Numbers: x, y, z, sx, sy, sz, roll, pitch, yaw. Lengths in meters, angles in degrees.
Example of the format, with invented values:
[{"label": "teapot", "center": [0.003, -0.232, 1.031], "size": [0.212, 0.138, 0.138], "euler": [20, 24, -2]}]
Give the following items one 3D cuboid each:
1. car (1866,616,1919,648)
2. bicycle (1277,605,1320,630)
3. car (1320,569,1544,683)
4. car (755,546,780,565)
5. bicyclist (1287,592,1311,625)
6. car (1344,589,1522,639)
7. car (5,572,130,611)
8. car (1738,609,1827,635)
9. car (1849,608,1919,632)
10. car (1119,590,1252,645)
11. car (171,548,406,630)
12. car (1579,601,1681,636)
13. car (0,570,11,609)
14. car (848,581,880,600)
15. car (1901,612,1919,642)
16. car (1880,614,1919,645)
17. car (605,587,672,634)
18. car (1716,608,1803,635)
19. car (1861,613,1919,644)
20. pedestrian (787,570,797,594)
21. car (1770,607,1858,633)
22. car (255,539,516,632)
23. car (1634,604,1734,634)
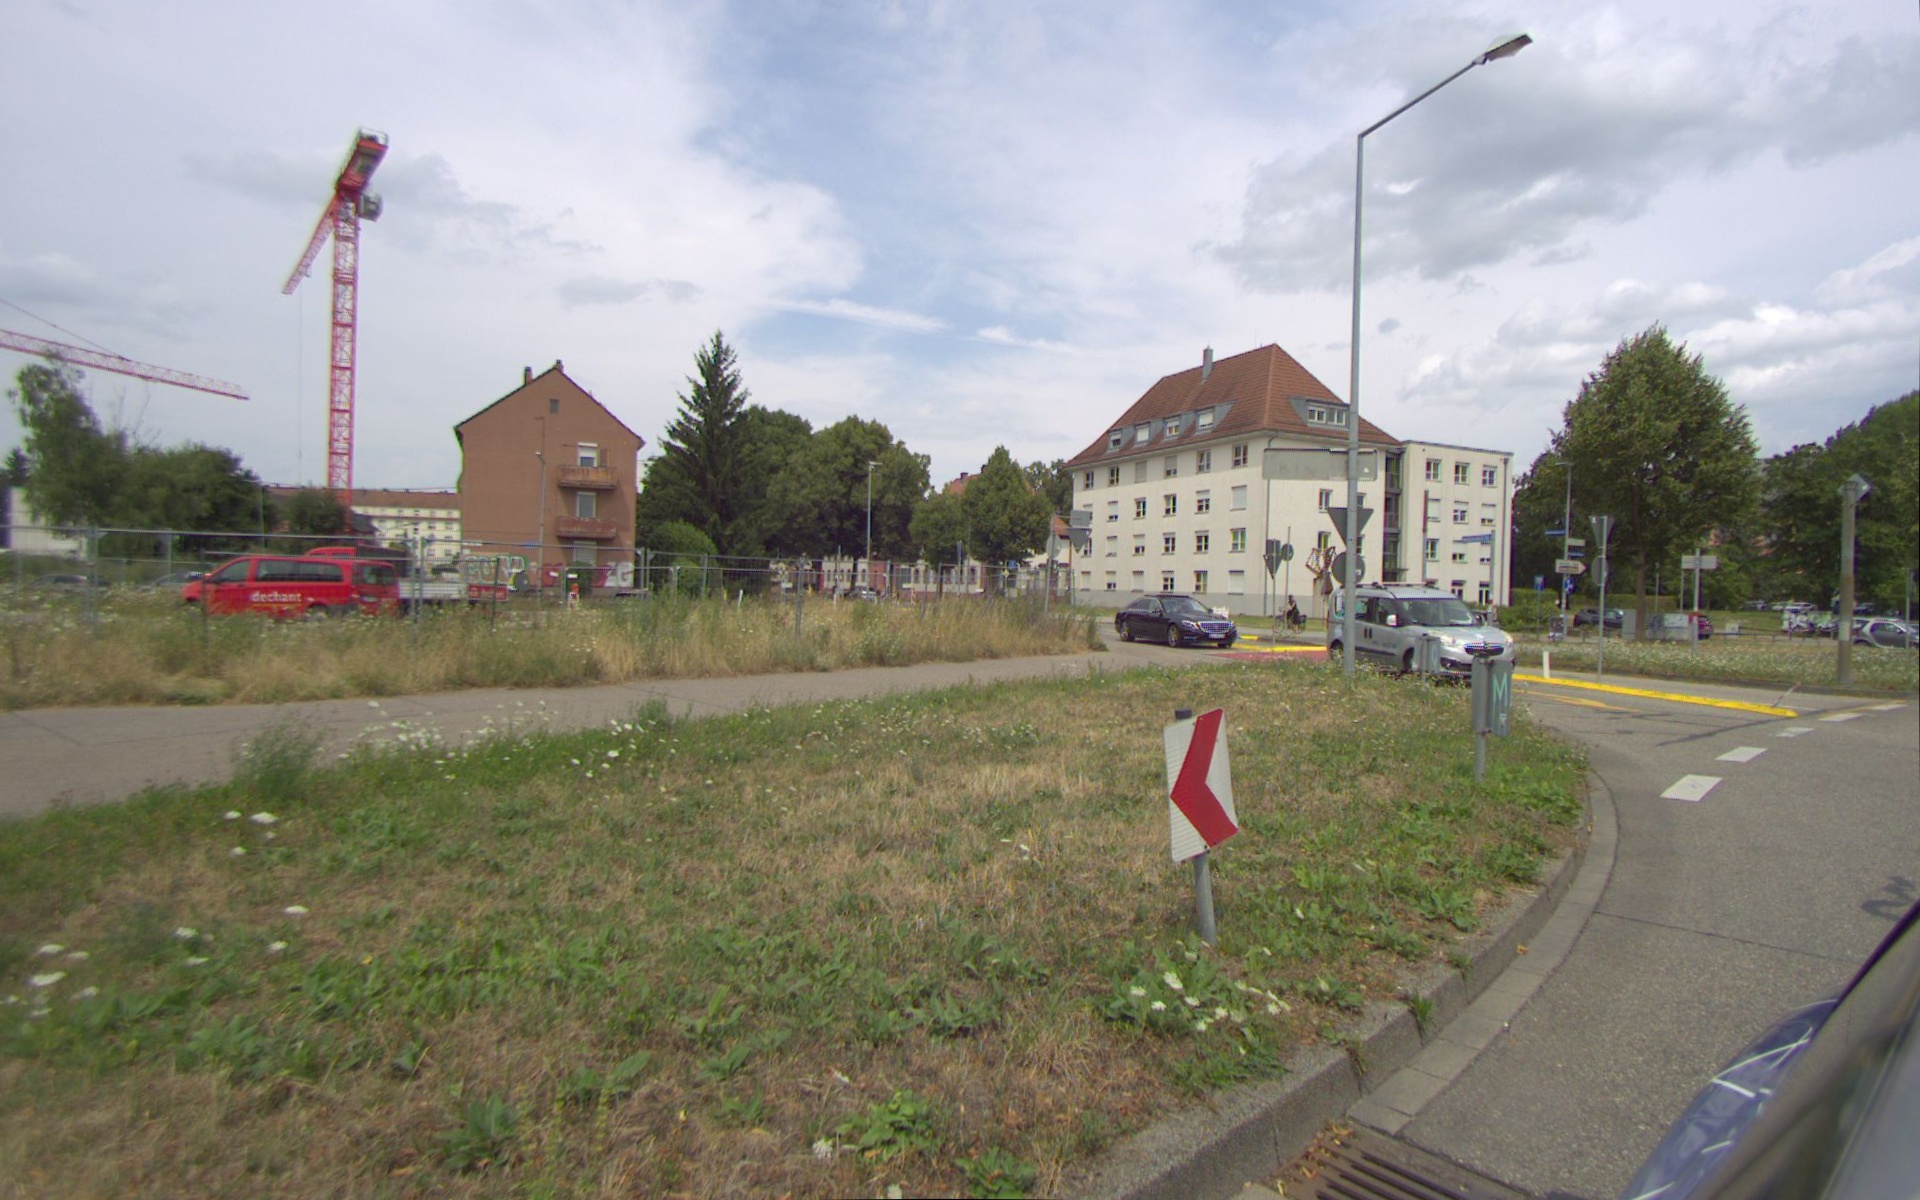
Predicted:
[{"label": "car", "center": [44.585, 1.500, 47.392], "size": [1.454, 1.442, 2.918], "euler": [2, -2, -30]}, {"label": "bicycle", "center": [15.049, 0.768, 45.025], "size": [1.790, 1.059, 0.603], "euler": [1, 0, -17]}, {"label": "car", "center": [9.124, 0.425, 20.074], "size": [1.774, 1.972, 4.591], "euler": [1, 1, -8]}, {"label": "car", "center": [-25.184, -5.775, 132.384], "size": [1.959, 2.301, 5.169], "euler": [1, 1, -26]}, {"label": "bicyclist", "center": [15.079, 0.359, 45.034], "size": [0.786, 1.441, 0.603], "euler": [1, 0, -17]}, {"label": "car", "center": [16.111, 0.444, 34.676], "size": [5.167, 1.501, 1.968], "euler": [2, 1, 44]}, {"label": "car", "center": [-39.998, -0.401, 45.406], "size": [3.935, 1.622, 1.803], "euler": [1, 1, -3]}, {"label": "car", "center": [52.096, 1.366, 64.174], "size": [1.780, 1.486, 4.014], "euler": [1, 1, -25]}, {"label": "car", "center": [65.201, 1.394, 70.902], "size": [1.780, 1.594, 4.014], "euler": [1, 0, -25]}, {"label": "car", "center": [6.690, 0.467, 30.646], "size": [1.780, 1.523, 4.880], "euler": [1, 0, -16]}, {"label": "car", "center": [-17.185, -0.251, 26.011], "size": [4.902, 1.935, 1.932], "euler": [1, -2, 7]}, {"label": "car", "center": [38.229, 1.041, 57.878], "size": [1.959, 1.786, 4.509], "euler": [1, 1, -25]}, {"label": "car", "center": [-44.972, -0.511, 44.860], "size": [3.934, 1.771, 1.859], "euler": [1, 1, -3]}, {"label": "car", "center": [-8.464, -0.859, 88.797], "size": [1.595, 1.538, 4.227], "euler": [1, 0, -23]}, {"label": "car", "center": [51.153, 1.463, 51.189], "size": [1.795, 1.490, 4.899], "euler": [1, 1, -24]}, {"label": "car", "center": [49.063, 1.527, 50.098], "size": [1.795, 1.490, 4.899], "euler": [1, 1, -24]}, {"label": "car", "center": [-11.163, 0.312, 35.384], "size": [1.730, 1.492, 4.267], "euler": [1, 1, -11]}, {"label": "car", "center": [50.104, 1.331, 63.511], "size": [1.582, 1.486, 4.015], "euler": [1, 1, -25]}, {"label": "car", "center": [46.727, 1.382, 48.693], "size": [1.795, 1.490, 4.712], "euler": [1, -1, -27]}, {"label": "pedestrian", "center": [-14.335, -1.543, 86.286], "size": [0.717, 2.039, 0.857], "euler": [1, 0, -4]}, {"label": "car", "center": [55.505, 1.267, 65.865], "size": [1.780, 1.486, 4.015], "euler": [1, 1, -25]}, {"label": "car", "center": [-16.357, -0.432, 28.980], "size": [6.432, 2.442, 2.313], "euler": [1, 1, 8]}, {"label": "car", "center": [43.048, 1.110, 60.289], "size": [1.958, 1.617, 4.416], "euler": [1, 1, -23]}]
